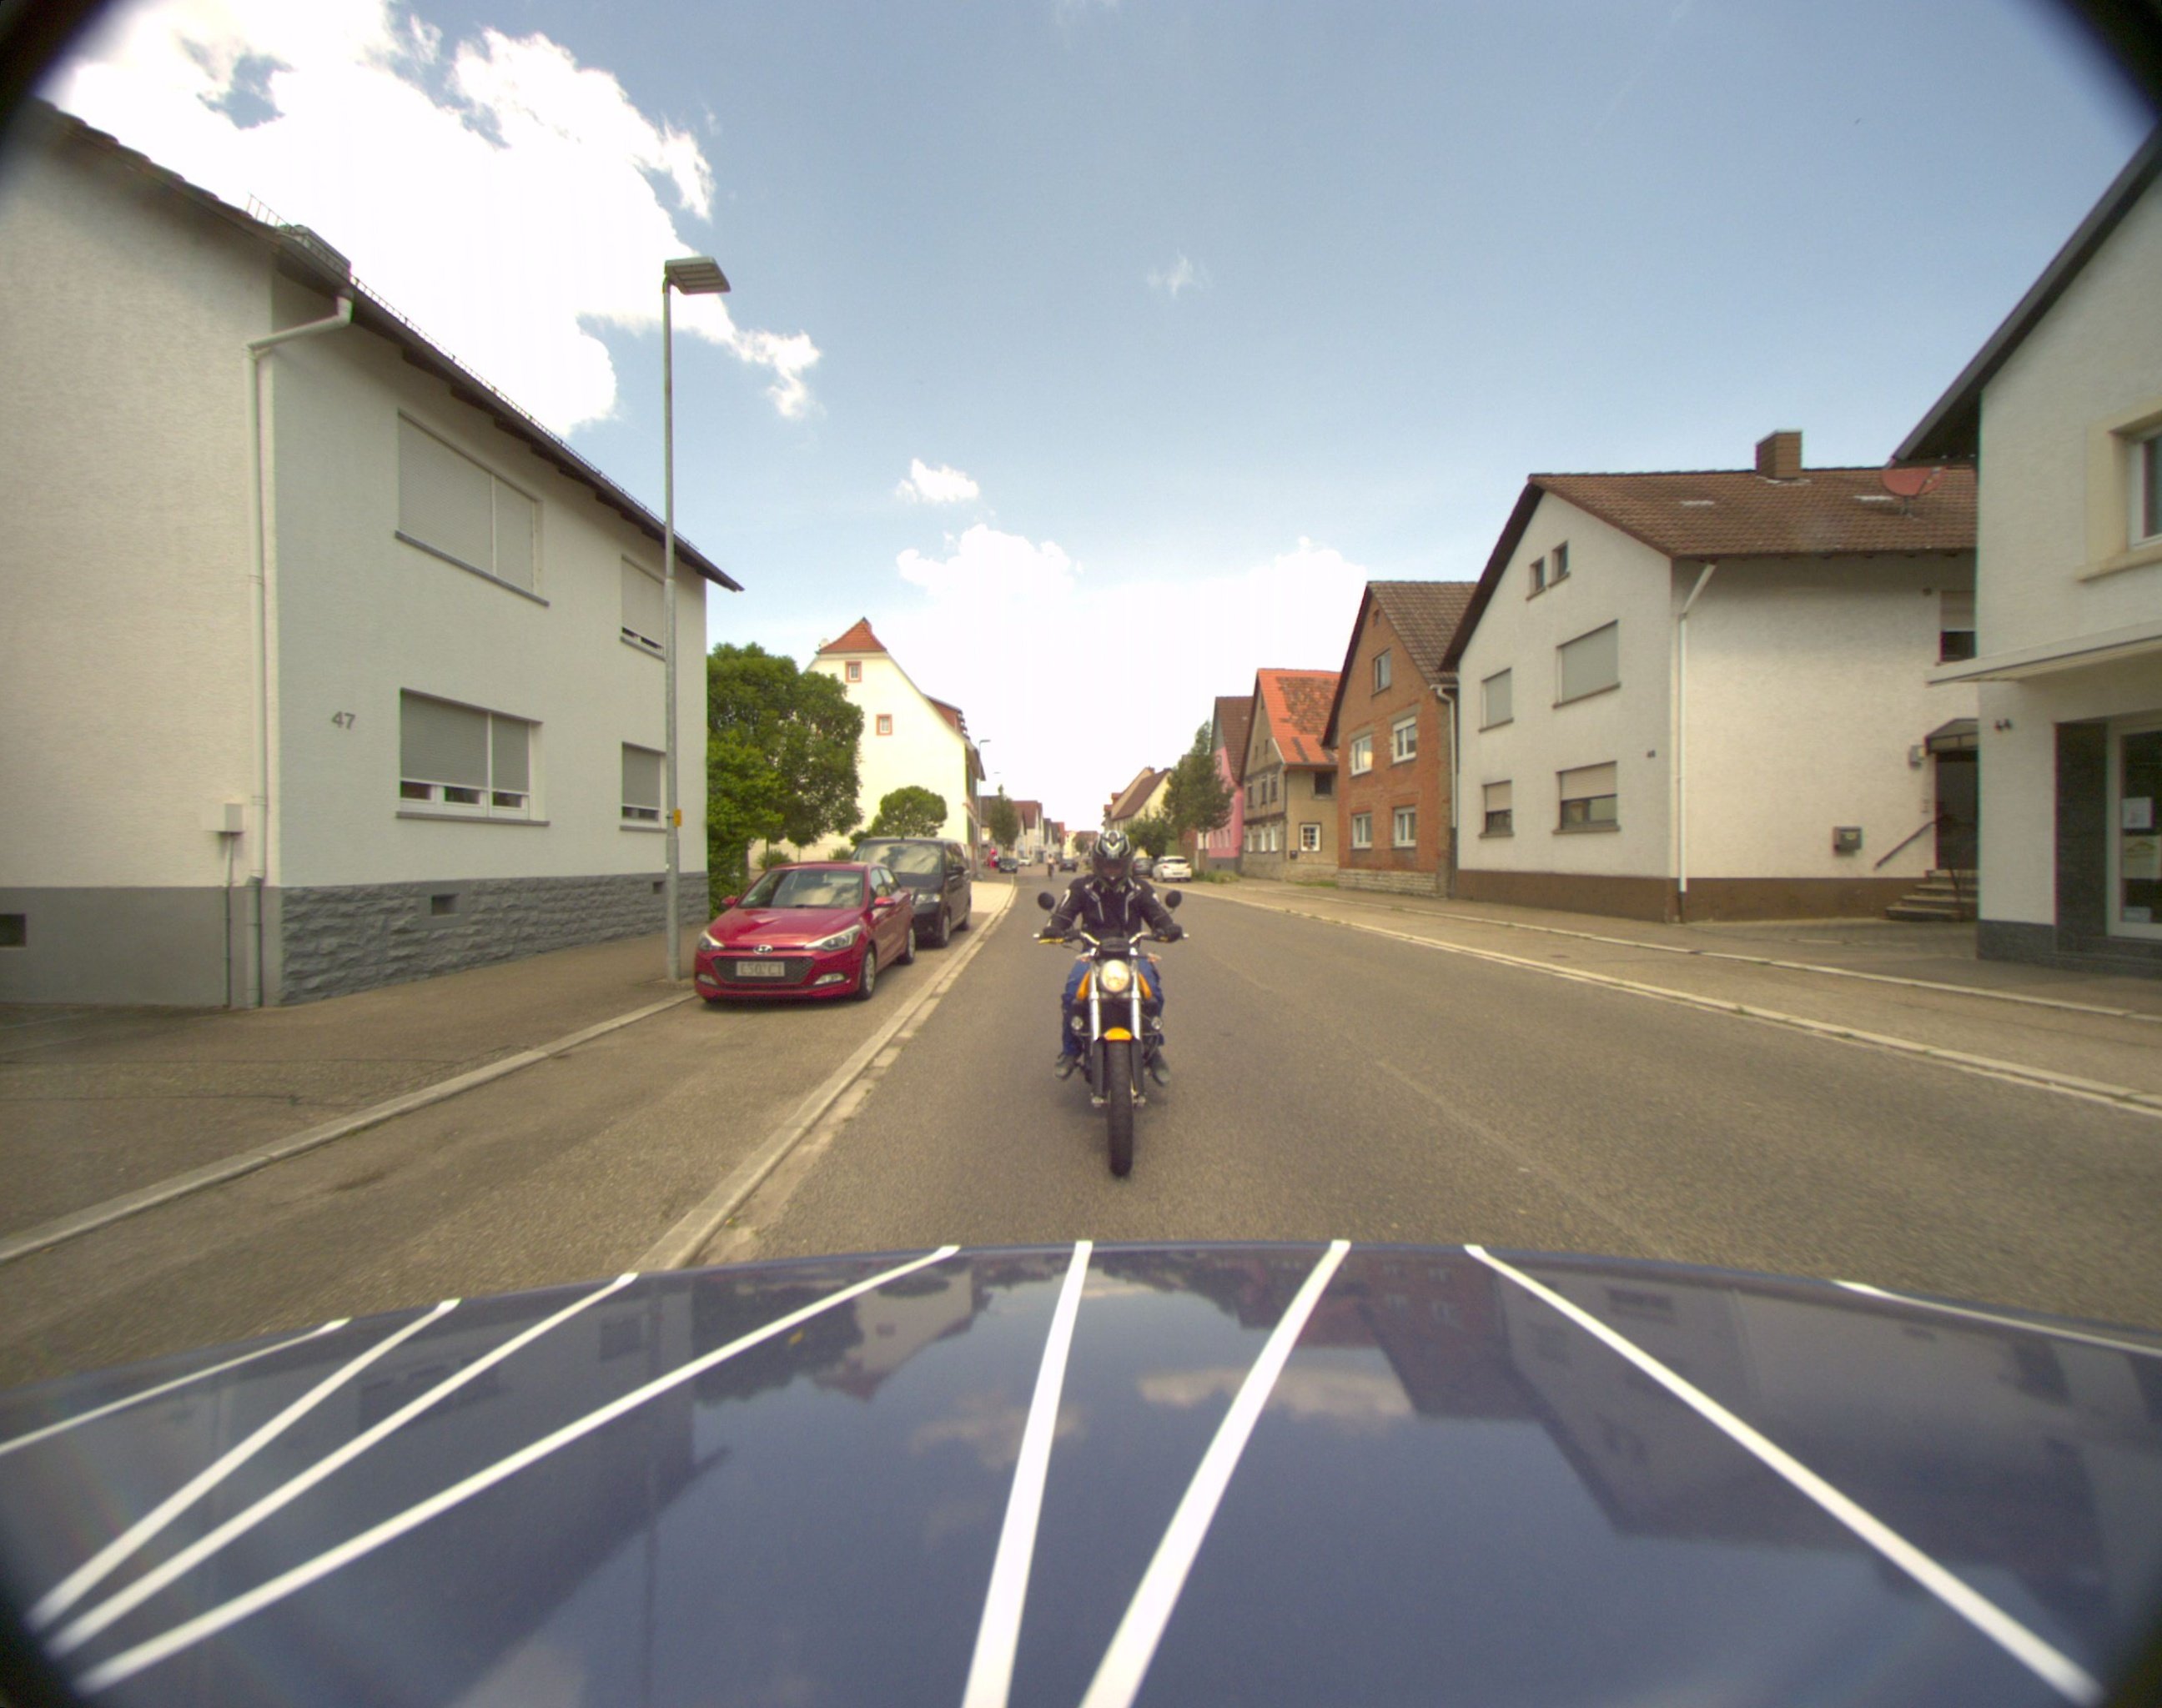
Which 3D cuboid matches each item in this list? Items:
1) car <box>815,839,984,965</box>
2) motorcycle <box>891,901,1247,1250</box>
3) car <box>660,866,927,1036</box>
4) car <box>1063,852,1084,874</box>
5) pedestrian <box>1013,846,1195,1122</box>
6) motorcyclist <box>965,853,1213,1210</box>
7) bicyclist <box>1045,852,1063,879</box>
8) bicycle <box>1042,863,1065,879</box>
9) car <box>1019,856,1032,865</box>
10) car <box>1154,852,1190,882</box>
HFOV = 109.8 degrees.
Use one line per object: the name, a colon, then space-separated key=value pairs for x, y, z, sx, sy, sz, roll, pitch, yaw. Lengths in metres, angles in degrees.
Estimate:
car: x=-3.173 y=0.700 z=14.529 sx=1.930 sy=1.904 sz=5.244 roll=-2 pitch=1 yaw=0
motorcycle: x=0.097 y=0.947 z=4.130 sx=0.983 sy=1.233 sz=2.107 roll=-3 pitch=-1 yaw=28
car: x=-3.165 y=0.943 z=9.435 sx=1.744 sy=1.495 sz=4.557 roll=-1 pitch=0 yaw=-3
car: x=-0.713 y=0.913 z=77.632 sx=1.998 sy=2.002 sz=3.999 roll=-2 pitch=1 yaw=1
pedestrian: x=0.188 y=0.756 z=4.797 sx=0.999 sy=1.565 sz=0.800 roll=-2 pitch=2 yaw=9
motorcyclist: x=0.065 y=0.815 z=4.006 sx=0.998 sy=1.591 sz=0.801 roll=-1 pitch=2 yaw=28
bicyclist: x=-1.779 y=0.760 z=49.646 sx=0.908 sy=1.679 sz=0.762 roll=-1 pitch=2 yaw=17
bicycle: x=-1.771 y=1.135 z=49.902 sx=0.932 sy=1.005 sz=1.927 roll=-2 pitch=-1 yaw=16
car: x=-9.235 y=1.019 z=126.652 sx=1.999 sy=1.345 sz=3.999 roll=-2 pitch=1 yaw=0
car: x=5.222 y=0.721 z=43.941 sx=1.683 sy=1.521 sz=3.498 roll=-2 pitch=1 yaw=1
